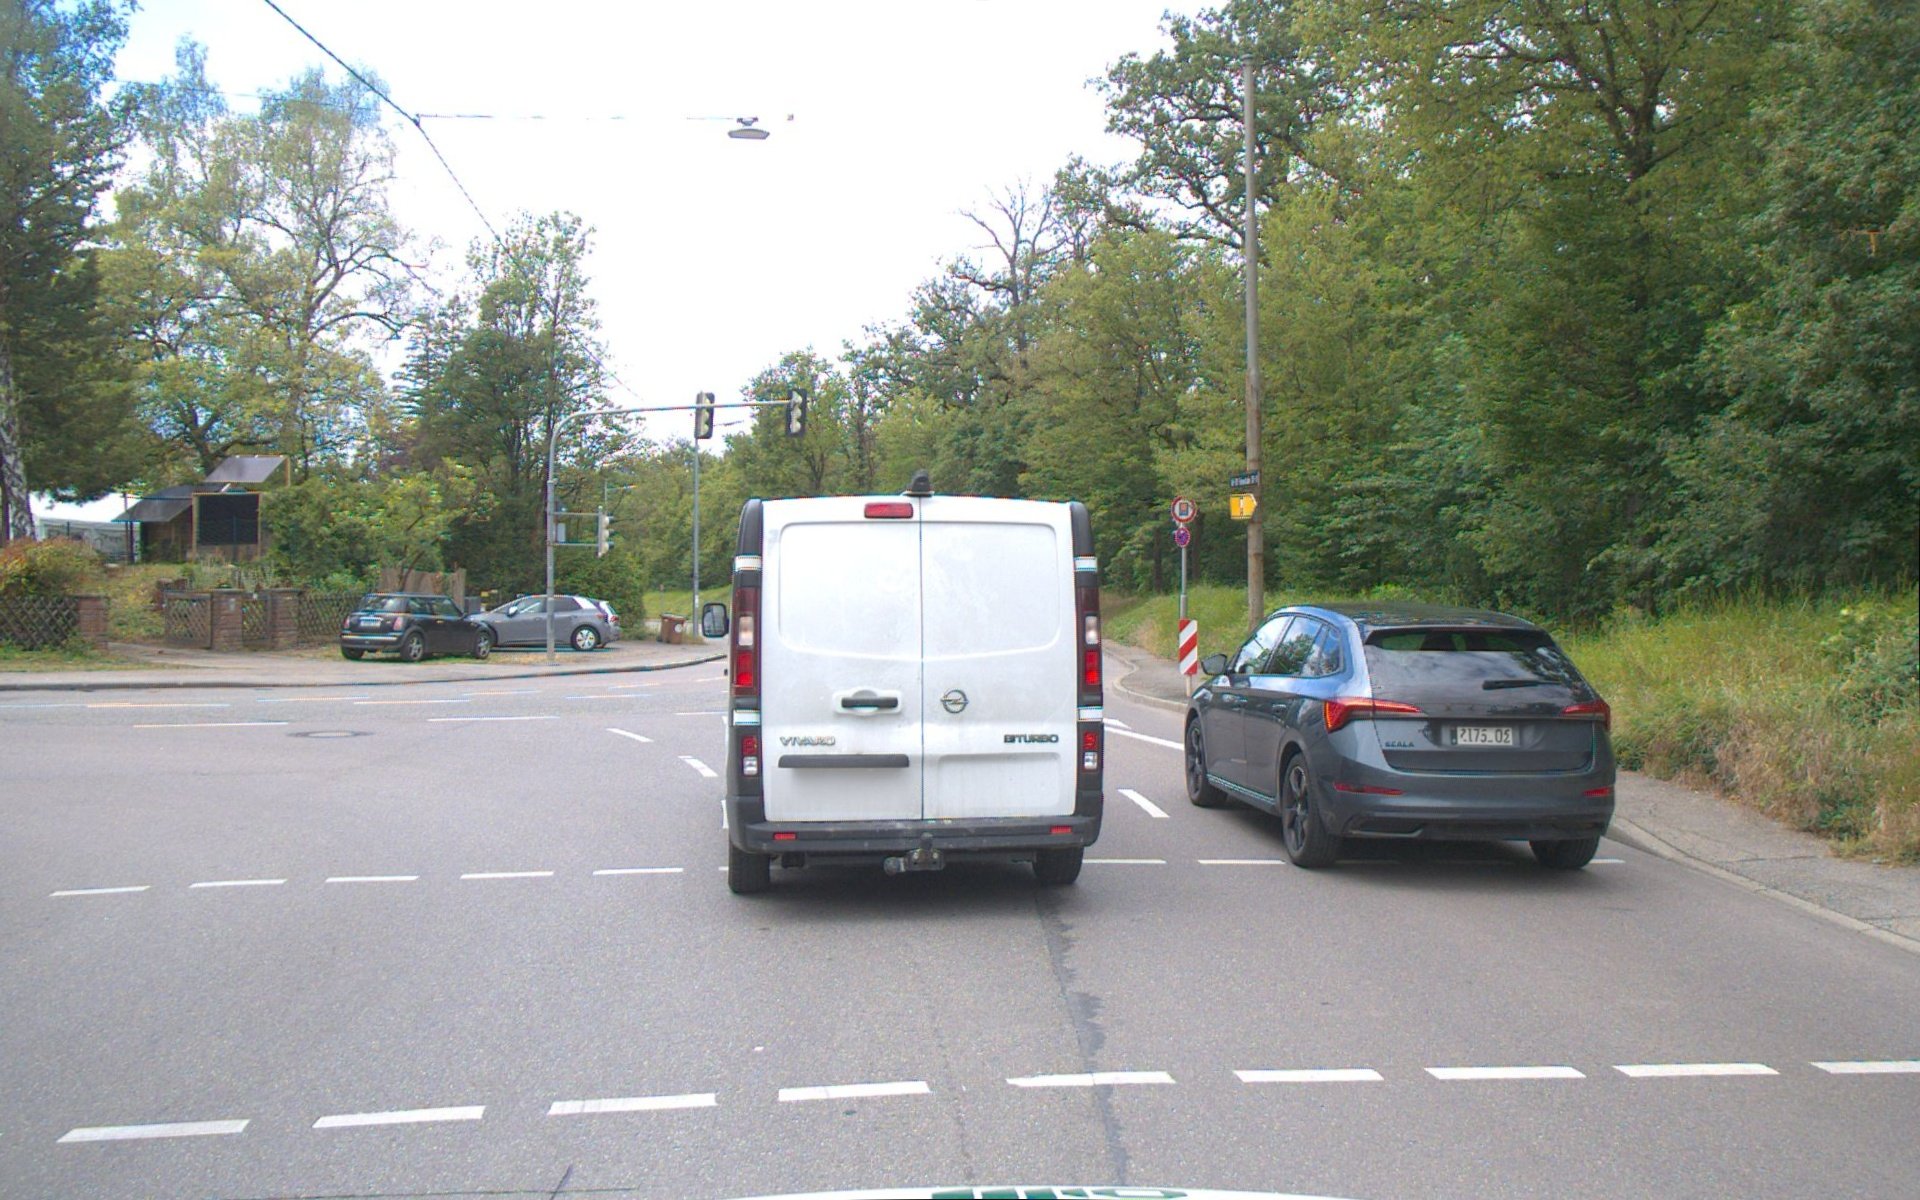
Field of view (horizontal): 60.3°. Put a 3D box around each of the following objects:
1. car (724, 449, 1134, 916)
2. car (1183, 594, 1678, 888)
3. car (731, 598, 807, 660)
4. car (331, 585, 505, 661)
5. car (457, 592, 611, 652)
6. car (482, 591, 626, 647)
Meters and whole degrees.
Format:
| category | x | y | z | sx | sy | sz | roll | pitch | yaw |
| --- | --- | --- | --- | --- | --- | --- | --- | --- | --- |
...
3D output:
| category | x | y | z | sx | sy | sz | roll | pitch | yaw |
| --- | --- | --- | --- | --- | --- | --- | --- | --- | --- |
| car | -0.412 | 0.347 | 9.824 | 1.880 | 2.089 | 4.607 | 0 | 0 | -7 |
| car | 2.683 | 0.710 | 10.437 | 1.757 | 1.476 | 3.997 | 0 | 0 | -4 |
| car | -4.964 | 0.731 | 43.460 | 1.820 | 1.533 | 3.996 | 1 | 0 | -5 |
| car | -11.516 | 0.483 | 35.375 | 1.662 | 1.474 | 3.544 | 3 | 0 | 19 |
| car | -11.737 | 0.590 | 45.540 | 4.022 | 1.580 | 1.846 | 0 | 1 | -18 |
| car | -11.934 | 0.537 | 48.574 | 4.022 | 1.580 | 1.846 | 0 | 1 | -18 |
